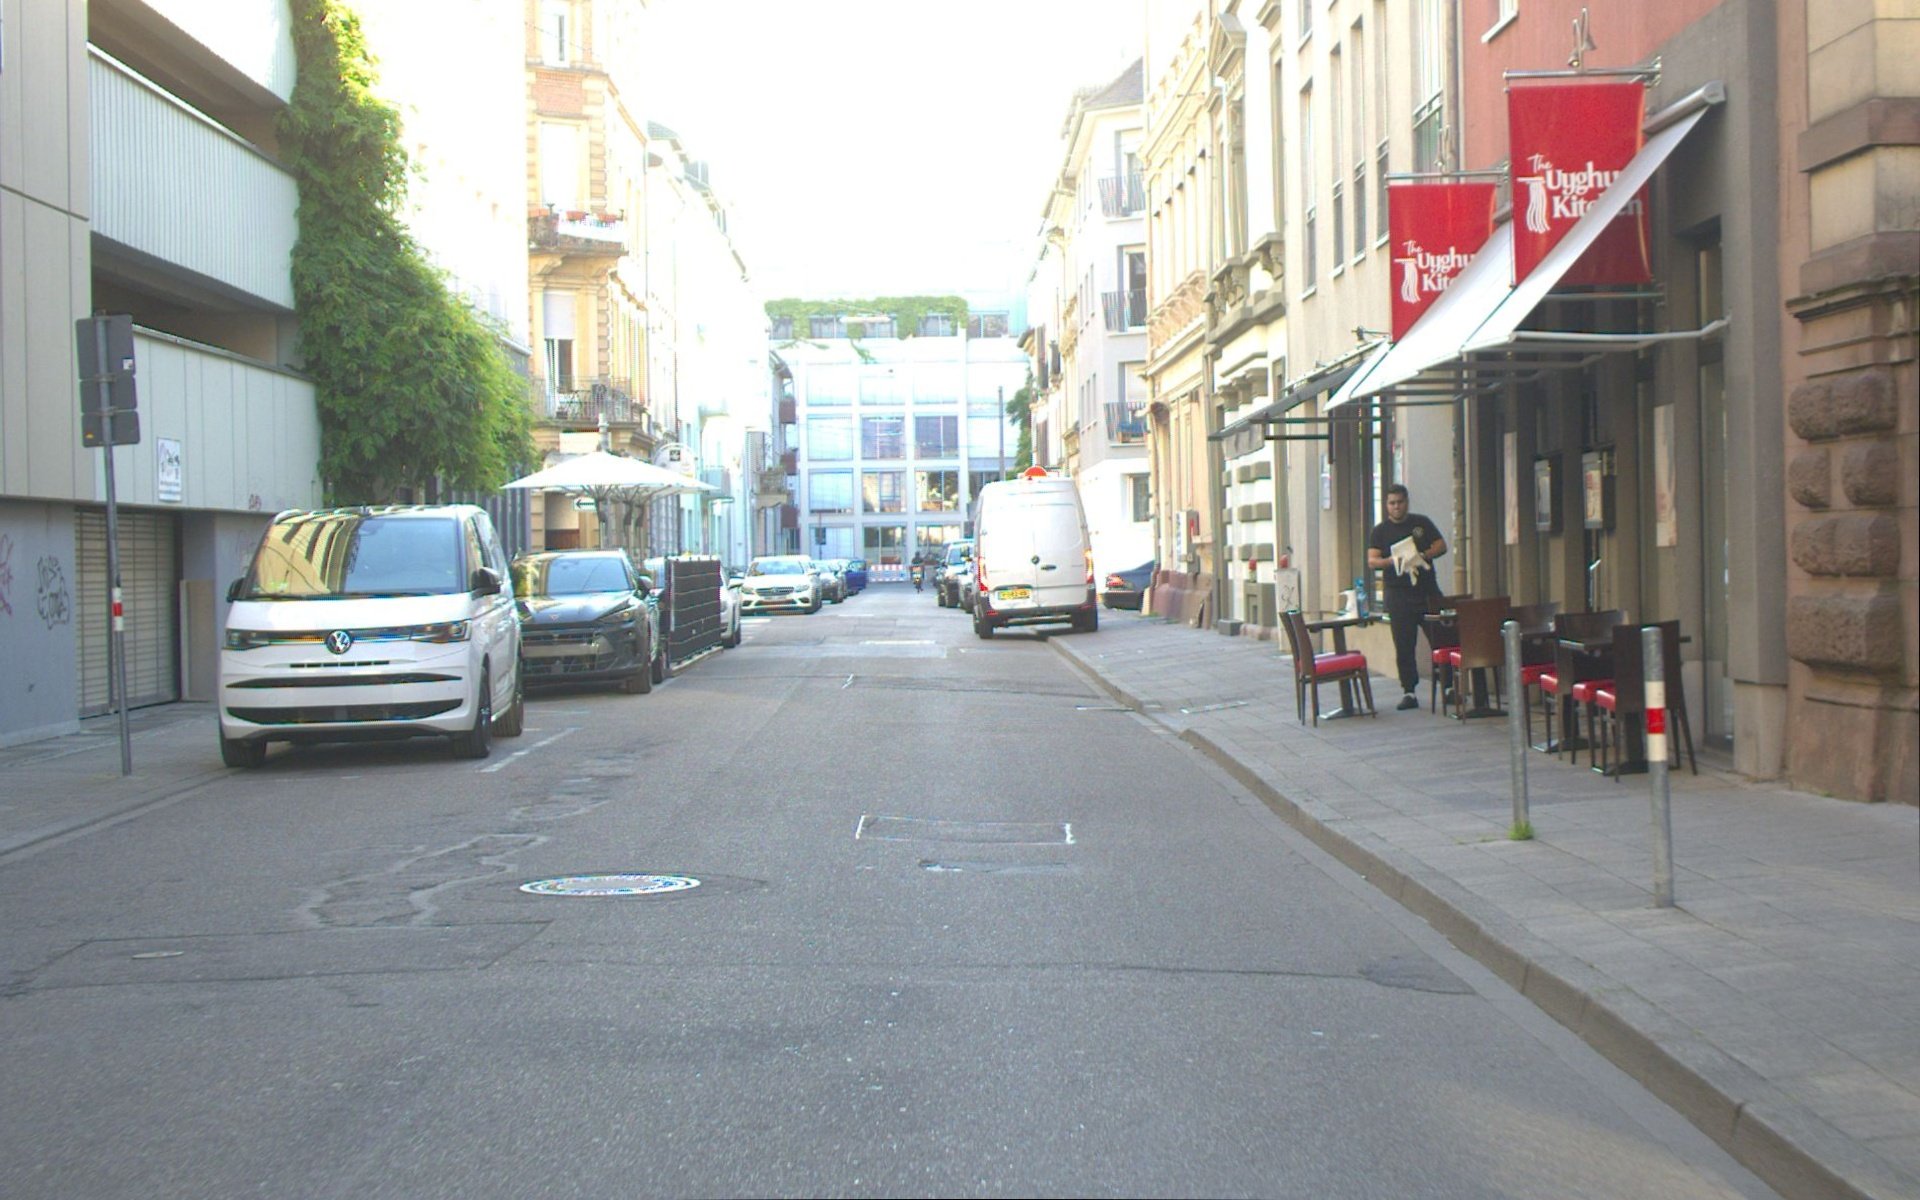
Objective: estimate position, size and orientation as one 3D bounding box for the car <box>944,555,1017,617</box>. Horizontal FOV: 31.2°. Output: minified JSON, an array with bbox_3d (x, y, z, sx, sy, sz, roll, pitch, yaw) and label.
[{"bbox_3d":[0.554,-0.375,96.217,1.993,1.678,4.000,-1,0,0],"label":"car"}]

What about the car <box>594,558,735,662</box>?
[{"bbox_3d":[-4.359,0.116,51.166,1.883,1.448,4.000,-1,1,-2],"label":"car"}]

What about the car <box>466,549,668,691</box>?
[{"bbox_3d":[-4.255,0.184,37.722,1.883,1.448,4.000,-1,1,-2],"label":"car"}]

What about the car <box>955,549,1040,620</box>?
[{"bbox_3d":[0.905,-0.364,84.372,1.993,1.678,4.000,-1,0,0],"label":"car"}]

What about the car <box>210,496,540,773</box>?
[{"bbox_3d":[-4.374,0.211,26.392,1.883,1.905,4.748,-1,1,-2],"label":"car"}]

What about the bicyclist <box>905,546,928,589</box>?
[{"bbox_3d":[-1.929,-1.445,152.030,0.990,1.862,0.708,-1,0,0],"label":"bicyclist"}]

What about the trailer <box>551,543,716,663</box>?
[{"bbox_3d":[-4.400,0.040,46.838,1.993,1.552,4.000,-1,0,-2],"label":"trailer"}]

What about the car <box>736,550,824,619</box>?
[{"bbox_3d":[-4.457,-0.378,85.791,1.993,1.678,4.000,-1,0,0],"label":"car"}]

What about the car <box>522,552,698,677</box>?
[{"bbox_3d":[-4.282,0.148,42.565,1.883,1.448,4.000,-1,1,-2],"label":"car"}]

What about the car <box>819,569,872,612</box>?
[{"bbox_3d":[-4.608,-0.373,138.533,1.993,1.678,4.000,-1,0,0],"label":"car"}]

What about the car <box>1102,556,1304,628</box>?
[{"bbox_3d":[4.945,-0.161,70.339,3.987,1.415,1.656,-1,0,0],"label":"car"}]

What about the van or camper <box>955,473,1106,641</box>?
[{"bbox_3d":[1.172,-0.721,59.799,2.258,2.598,5.112,-5,0,0],"label":"van or camper"}]

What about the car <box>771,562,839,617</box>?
[{"bbox_3d":[-4.886,-0.335,108.903,1.993,1.678,4.000,-1,0,0],"label":"car"}]

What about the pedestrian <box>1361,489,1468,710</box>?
[{"bbox_3d":[3.521,-0.007,26.661,0.662,1.660,0.624,-3,1,0],"label":"pedestrian"}]

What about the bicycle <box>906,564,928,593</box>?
[{"bbox_3d":[-1.907,-0.937,152.206,0.975,1.276,2.754,-1,0,0],"label":"bicycle"}]
